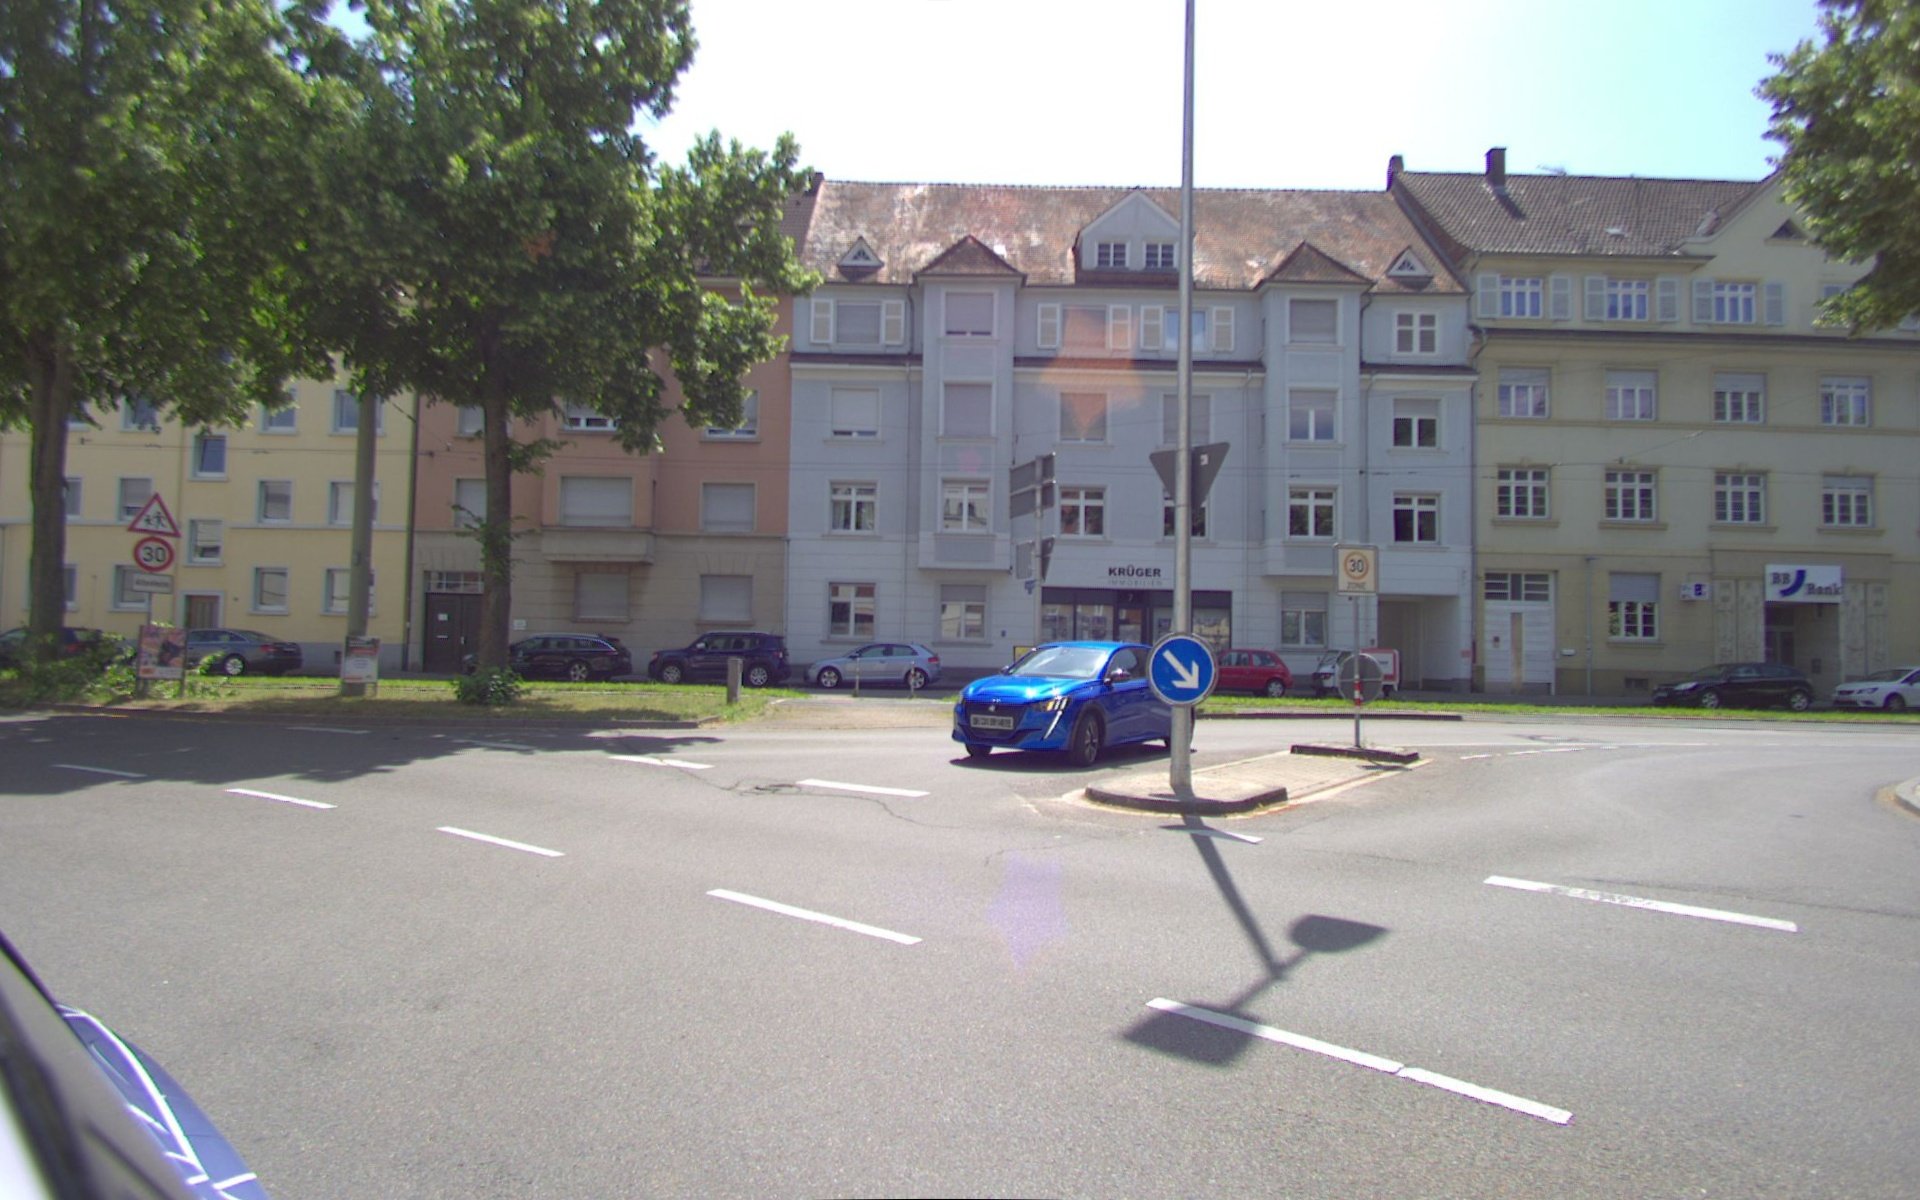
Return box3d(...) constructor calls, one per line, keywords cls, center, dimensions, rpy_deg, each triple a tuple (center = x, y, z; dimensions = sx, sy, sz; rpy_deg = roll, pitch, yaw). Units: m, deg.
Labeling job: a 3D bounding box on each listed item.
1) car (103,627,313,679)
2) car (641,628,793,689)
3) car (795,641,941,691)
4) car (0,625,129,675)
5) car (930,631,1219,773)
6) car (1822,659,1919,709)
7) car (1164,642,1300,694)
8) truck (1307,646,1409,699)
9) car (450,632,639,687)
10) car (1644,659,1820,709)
box3d(cls="car", center=(-22.373, 1.614, 30.236), dimensions=(4.796, 1.409, 1.933), rpy_deg=(1, -5, 1))
box3d(cls="car", center=(-7.201, 1.769, 30.288), dimensions=(4.084, 1.698, 1.842), rpy_deg=(1, -5, 0))
box3d(cls="car", center=(-2.677, 1.987, 30.203), dimensions=(4.190, 1.367, 1.812), rpy_deg=(1, -5, 0))
box3d(cls="car", center=(-27.797, 1.519, 30.396), dimensions=(4.084, 1.411, 1.836), rpy_deg=(1, -4, 1))
box3d(cls="car", center=(1.591, 1.194, 12.909), dimensions=(1.813, 1.503, 3.947), rpy_deg=(-2, -4, 39))
box3d(cls="car", center=(28.149, 2.505, 29.887), dimensions=(3.803, 1.401, 1.691), rpy_deg=(1, -5, 0))
box3d(cls="car", center=(8.039, 2.031, 30.104), dimensions=(3.575, 1.462, 1.576), rpy_deg=(1, -5, 0))
box3d(cls="truck", center=(11.889, 2.181, 30.323), dimensions=(2.557, 1.506, 1.129), rpy_deg=(1, -5, -1))
box3d(cls="car", center=(-12.297, 1.799, 30.187), dimensions=(4.795, 1.502, 1.933), rpy_deg=(1, -5, 0))
box3d(cls="car", center=(22.774, 2.486, 29.952), dimensions=(3.803, 1.370, 1.691), rpy_deg=(1, -5, 0))
